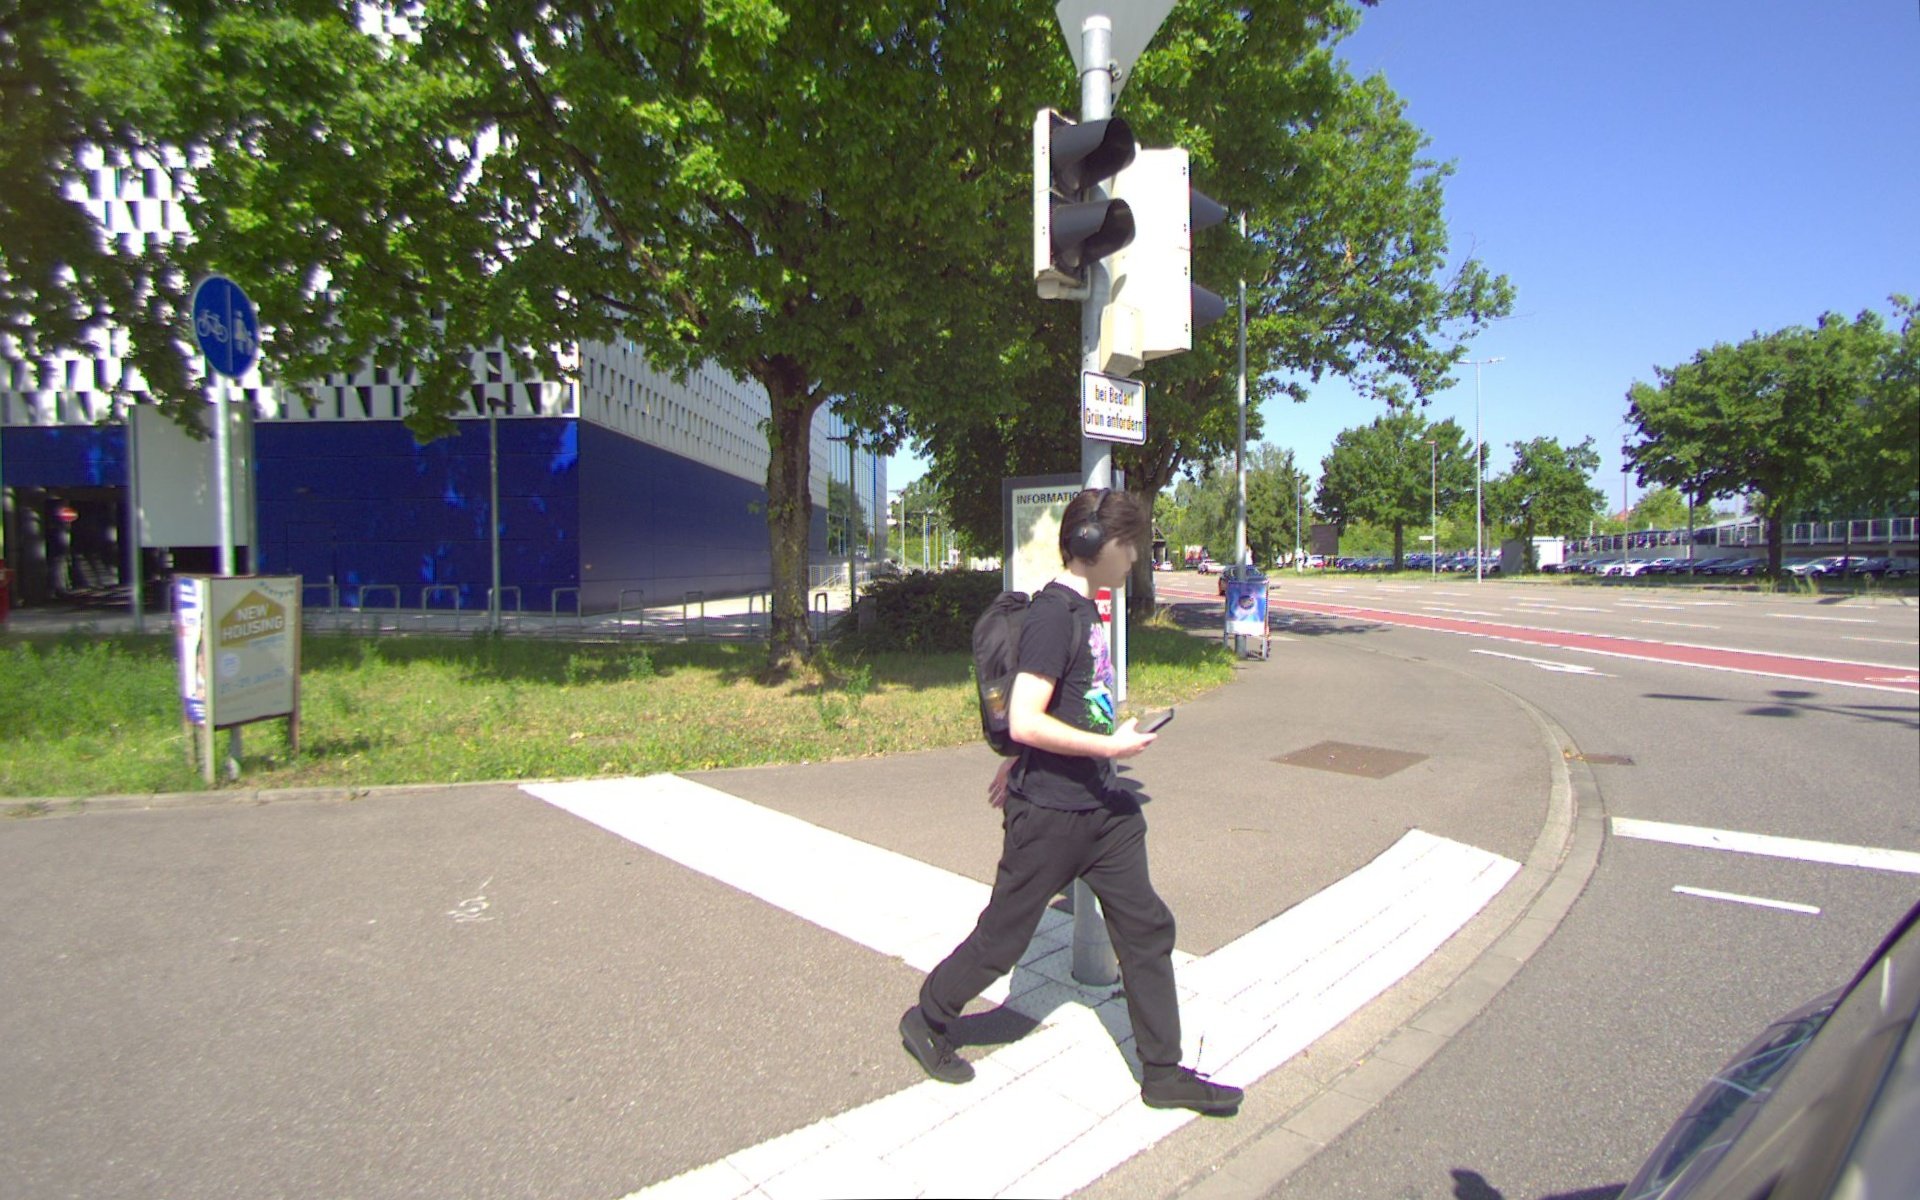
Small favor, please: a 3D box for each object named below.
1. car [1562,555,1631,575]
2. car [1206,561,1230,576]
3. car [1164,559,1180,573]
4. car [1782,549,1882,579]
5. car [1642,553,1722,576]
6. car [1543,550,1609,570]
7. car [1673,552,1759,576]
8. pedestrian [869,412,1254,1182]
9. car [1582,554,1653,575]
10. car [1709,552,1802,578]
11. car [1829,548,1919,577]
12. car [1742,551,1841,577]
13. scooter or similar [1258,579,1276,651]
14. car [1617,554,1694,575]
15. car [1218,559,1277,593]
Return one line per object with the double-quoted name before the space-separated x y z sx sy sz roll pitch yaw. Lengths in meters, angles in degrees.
"car" 41.268 -2.281 65.676 3.359 1.264 1.593 0 2 8
"car" 30.257 -3.684 118.955 2.132 1.695 4.506 -1 2 7
"car" 32.421 -5.189 154.635 1.965 2.038 3.995 -1 2 5
"car" 40.795 -1.681 47.397 3.117 1.341 1.638 0 2 7
"car" 41.268 -2.036 57.913 3.359 1.264 1.593 0 2 8
"car" 41.332 -2.685 67.949 3.359 1.264 1.593 0 2 8
"car" 41.071 -1.941 55.012 3.359 1.264 1.593 0 2 8
"pedestrian" 0.248 0.441 2.940 0.692 1.801 0.961 -1 2 -27
"car" 41.068 -2.203 63.250 3.359 1.264 1.593 0 2 8
"car" 40.826 -1.790 51.972 3.359 1.264 1.593 0 2 8
"car" 41.018 -1.657 44.909 3.359 1.264 1.593 0 2 8
"car" 40.802 -1.770 49.716 3.359 1.264 1.593 0 2 8
"scooter or similar" 5.370 0.237 17.721 0.252 1.196 1.385 0 2 14
"car" 41.382 -2.111 60.268 3.359 1.264 1.593 0 2 8
"car" 13.631 -1.183 48.185 1.740 1.482 4.236 -2 2 4
